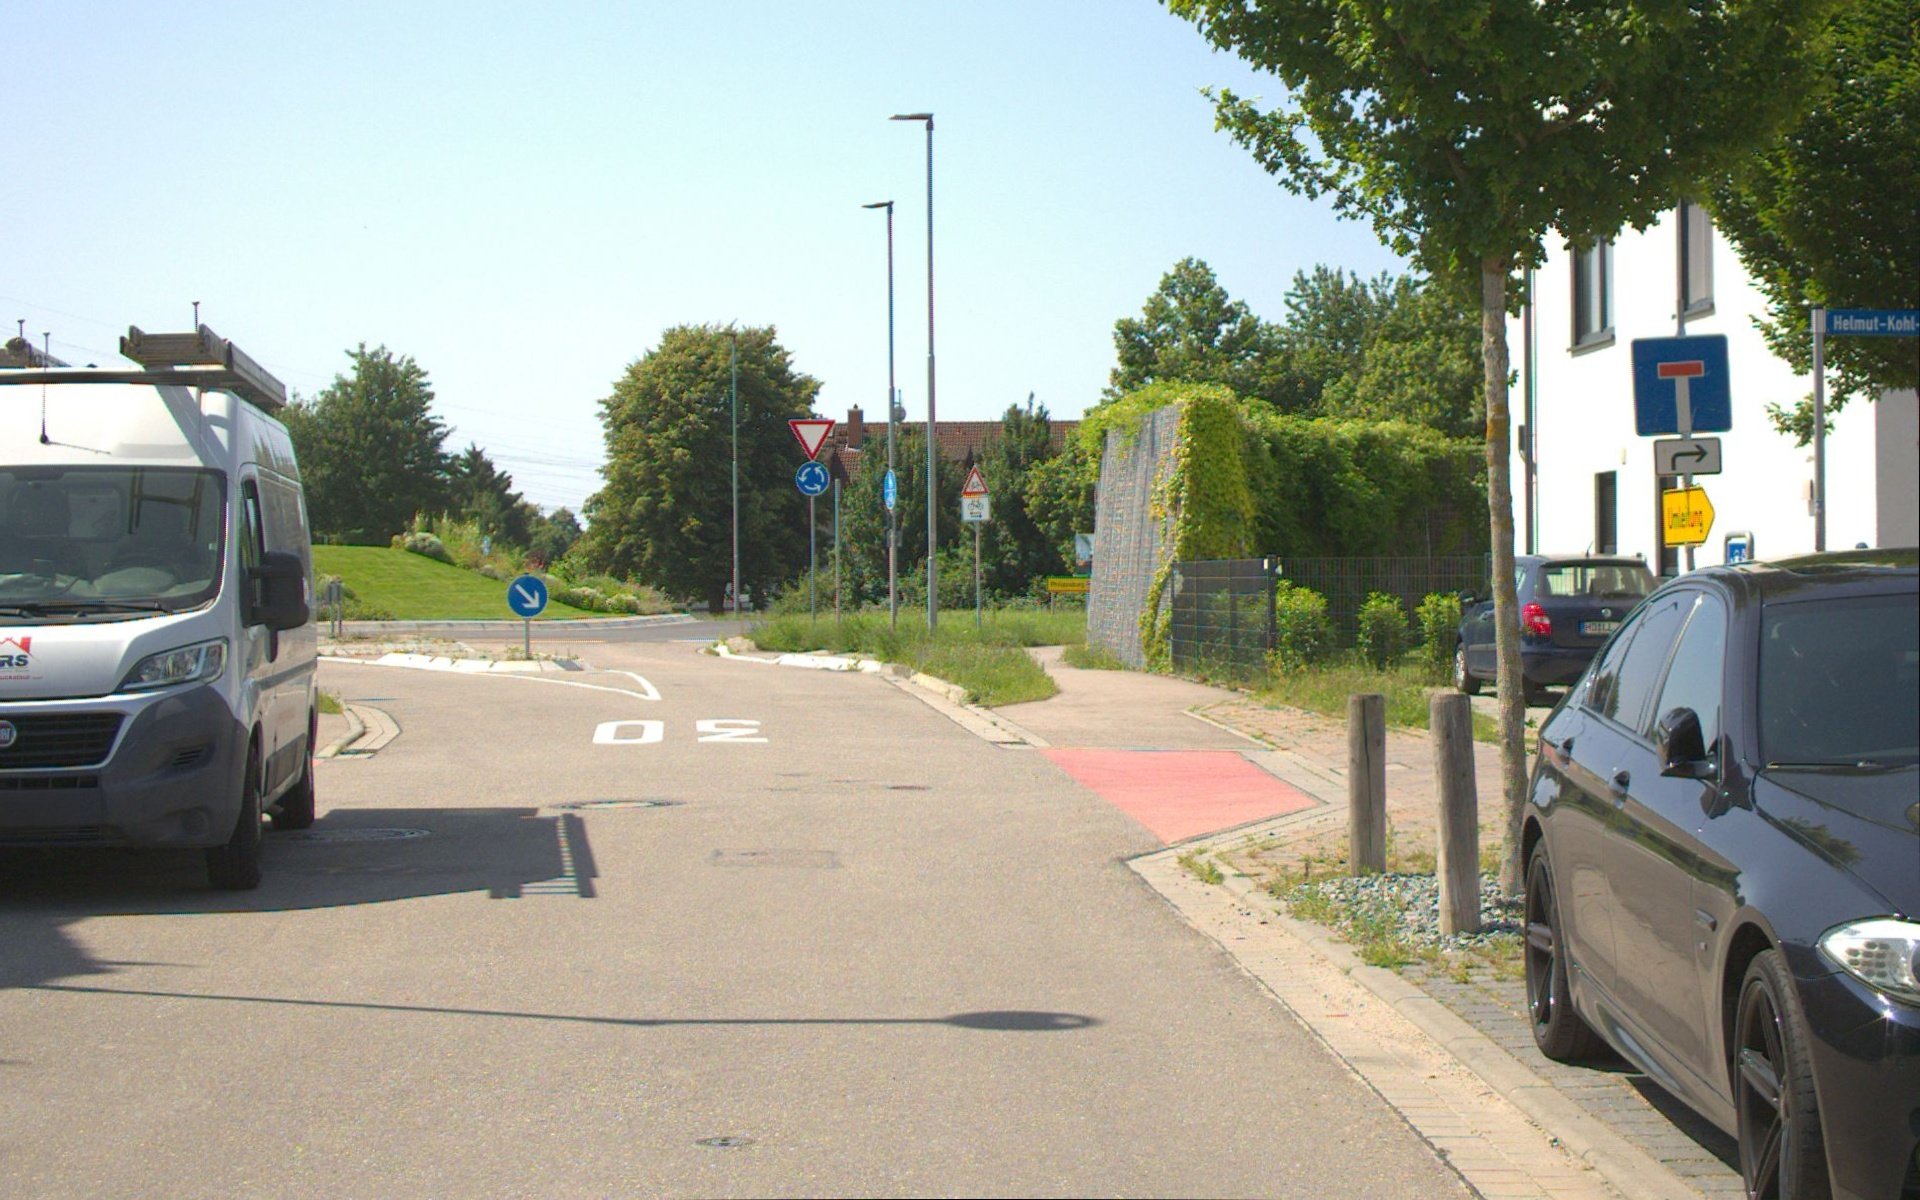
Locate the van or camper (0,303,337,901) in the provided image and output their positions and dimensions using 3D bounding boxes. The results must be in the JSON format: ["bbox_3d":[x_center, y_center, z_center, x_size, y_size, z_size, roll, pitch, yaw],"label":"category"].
[{"bbox_3d":[-4.558,0.025,17.776,2.272,2.544,6.368,-1,0,-7],"label":"van or camper"}]

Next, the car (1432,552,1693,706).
[{"bbox_3d":[6.085,0.255,35.170,1.677,1.464,4.117,1,1,-4],"label":"car"}]

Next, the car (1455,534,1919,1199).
[{"bbox_3d":[2.586,0.579,8.737,1.918,1.464,5.140,-2,1,1],"label":"car"}]
